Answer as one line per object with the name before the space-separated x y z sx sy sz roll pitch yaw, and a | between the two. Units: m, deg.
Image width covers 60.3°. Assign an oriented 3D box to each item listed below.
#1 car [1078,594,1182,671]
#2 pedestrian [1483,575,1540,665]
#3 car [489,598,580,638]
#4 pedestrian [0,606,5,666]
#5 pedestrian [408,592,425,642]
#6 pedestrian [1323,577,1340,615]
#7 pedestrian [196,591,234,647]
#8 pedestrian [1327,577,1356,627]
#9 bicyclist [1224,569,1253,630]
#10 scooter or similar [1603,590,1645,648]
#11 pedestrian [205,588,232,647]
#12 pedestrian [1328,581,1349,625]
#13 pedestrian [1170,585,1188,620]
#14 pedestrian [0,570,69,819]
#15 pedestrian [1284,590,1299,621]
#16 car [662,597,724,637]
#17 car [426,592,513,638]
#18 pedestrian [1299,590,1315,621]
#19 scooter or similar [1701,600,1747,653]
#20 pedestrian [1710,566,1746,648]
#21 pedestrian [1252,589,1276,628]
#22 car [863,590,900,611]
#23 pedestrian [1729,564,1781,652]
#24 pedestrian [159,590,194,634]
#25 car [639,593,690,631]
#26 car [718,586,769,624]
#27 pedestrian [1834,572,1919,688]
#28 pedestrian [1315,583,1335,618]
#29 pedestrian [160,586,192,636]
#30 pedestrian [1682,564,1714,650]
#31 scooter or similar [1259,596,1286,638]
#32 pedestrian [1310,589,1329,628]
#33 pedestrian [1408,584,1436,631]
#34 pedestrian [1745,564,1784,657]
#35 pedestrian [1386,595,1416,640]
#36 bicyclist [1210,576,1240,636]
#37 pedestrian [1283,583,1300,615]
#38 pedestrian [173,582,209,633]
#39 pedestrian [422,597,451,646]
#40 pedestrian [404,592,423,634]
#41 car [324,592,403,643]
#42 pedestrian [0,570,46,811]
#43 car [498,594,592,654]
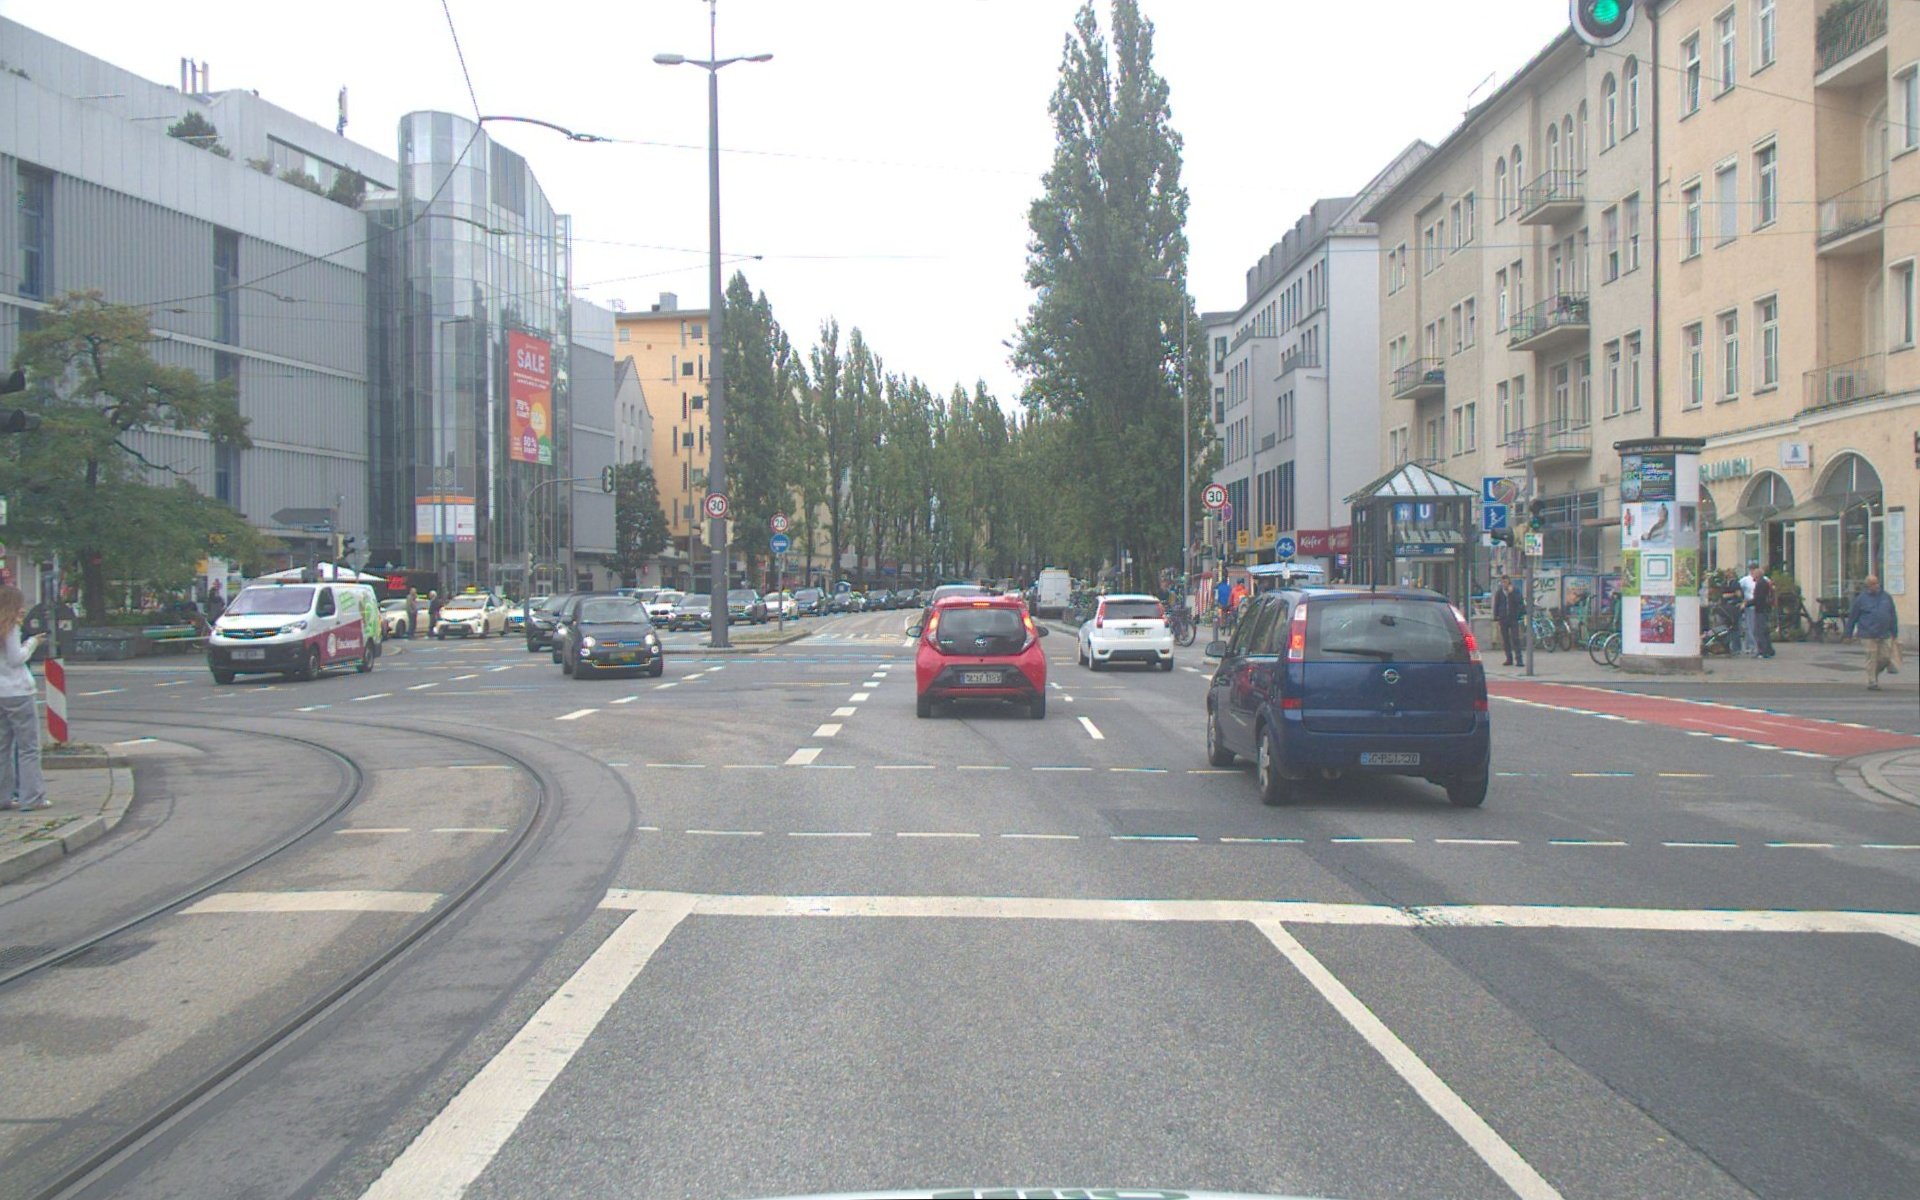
car | 3.371 0.606 33.237 1.665 1.451 3.496 0 0 -1
pedestrian | 10.822 0.384 32.453 0.820 1.720 0.816 -1 0 37
car | -17.343 0.718 67.668 1.951 1.534 4.638 0 0 8
pedestrian | -28.189 1.039 47.947 0.780 1.717 0.852 -1 0 -35
pedestrian | -19.411 0.596 59.071 0.436 1.790 0.356 -1 0 20
pedestrian | 14.660 -0.156 65.253 0.497 1.510 0.463 -1 0 35
pedestrian | -22.695 0.565 50.379 0.754 1.683 0.752 -1 0 10
pedestrian | 13.568 0.073 58.832 0.796 1.758 0.758 -2 0 0
bicyclist | 7.867 -0.023 46.706 0.601 1.686 1.251 -1 0 0
scooter or similar | 14.477 0.402 36.092 0.282 1.249 1.152 -1 0 -9
pedestrian | -23.146 0.546 51.631 0.739 1.804 0.767 -1 0 -24
pedestrian | 14.711 0.115 64.248 0.590 1.699 0.683 -1 0 35
pedestrian | 11.015 0.120 83.276 0.774 1.758 0.763 0 0 -1
pedestrian | -6.406 0.625 11.250 0.513 1.646 0.461 -1 0 43
pedestrian | 15.271 0.234 76.141 0.586 1.427 0.580 0 0 -1
car | -10.615 0.657 65.970 1.954 1.436 4.166 2 0 -3
car | -17.931 0.511 60.631 1.862 1.570 4.393 -1 1 0
pedestrian | 15.971 0.250 76.122 0.563 1.427 0.580 0 0 -1
scooter or similar | 15.124 0.521 32.759 0.803 1.011 0.593 0 3 22
pedestrian | 15.707 0.139 33.842 0.548 1.637 0.568 -1 3 12
pedestrian | 12.070 0.336 65.753 0.792 1.549 0.800 0 0 -2
car | -5.876 0.014 124.193 1.951 1.561 4.591 0 0 7
pedestrian | 16.255 0.154 33.827 0.637 1.734 0.726 -3 4 -30
pedestrian | -23.617 0.345 49.843 0.533 1.297 1.044 -1 0 0
car | -13.106 0.525 73.546 1.664 1.624 3.999 0 0 -2
car | -10.202 0.231 78.201 1.707 1.699 4.733 -1 1 1
pedestrian | 14.407 0.458 25.928 0.914 1.786 1.066 -1 0 8
pedestrian | 16.982 0.029 76.961 0.717 1.630 0.742 -1 0 -1
pedestrian | -24.050 0.338 50.741 0.743 1.519 0.763 -1 0 -35
pedestrian | 14.968 0.135 33.552 0.554 1.699 0.562 0 3 22
scooter or similar | 9.276 0.500 49.126 0.357 1.196 1.345 -1 0 29
pedestrian | 14.044 0.320 64.660 0.568 1.531 0.615 0 0 31
pedestrian | 16.567 0.263 59.357 0.735 1.679 0.758 -2 0 -2
pedestrian | 15.783 0.200 32.454 0.635 1.781 0.637 0 3 22
pedestrian | 15.425 0.595 57.856 0.762 1.544 0.758 -2 0 -2
bicyclist | 8.444 0.179 52.740 0.747 1.902 1.133 -1 0 0
pedestrian | 16.534 -0.046 82.574 0.698 1.585 0.676 -1 0 -1
pedestrian | -24.040 0.220 51.730 0.758 1.581 0.748 0 0 38
pedestrian | -18.623 0.773 58.844 0.754 1.720 0.752 -1 0 4
pedestrian | -24.146 0.552 73.097 0.545 1.849 0.628 0 0 11
car | -20.196 0.559 56.138 1.959 1.563 4.400 -2 1 -13
pedestrian | -6.686 0.618 11.534 0.482 1.646 0.551 -1 0 -35
car | -11.382 0.619 45.635 1.631 1.535 4.280 -1 0 -2
